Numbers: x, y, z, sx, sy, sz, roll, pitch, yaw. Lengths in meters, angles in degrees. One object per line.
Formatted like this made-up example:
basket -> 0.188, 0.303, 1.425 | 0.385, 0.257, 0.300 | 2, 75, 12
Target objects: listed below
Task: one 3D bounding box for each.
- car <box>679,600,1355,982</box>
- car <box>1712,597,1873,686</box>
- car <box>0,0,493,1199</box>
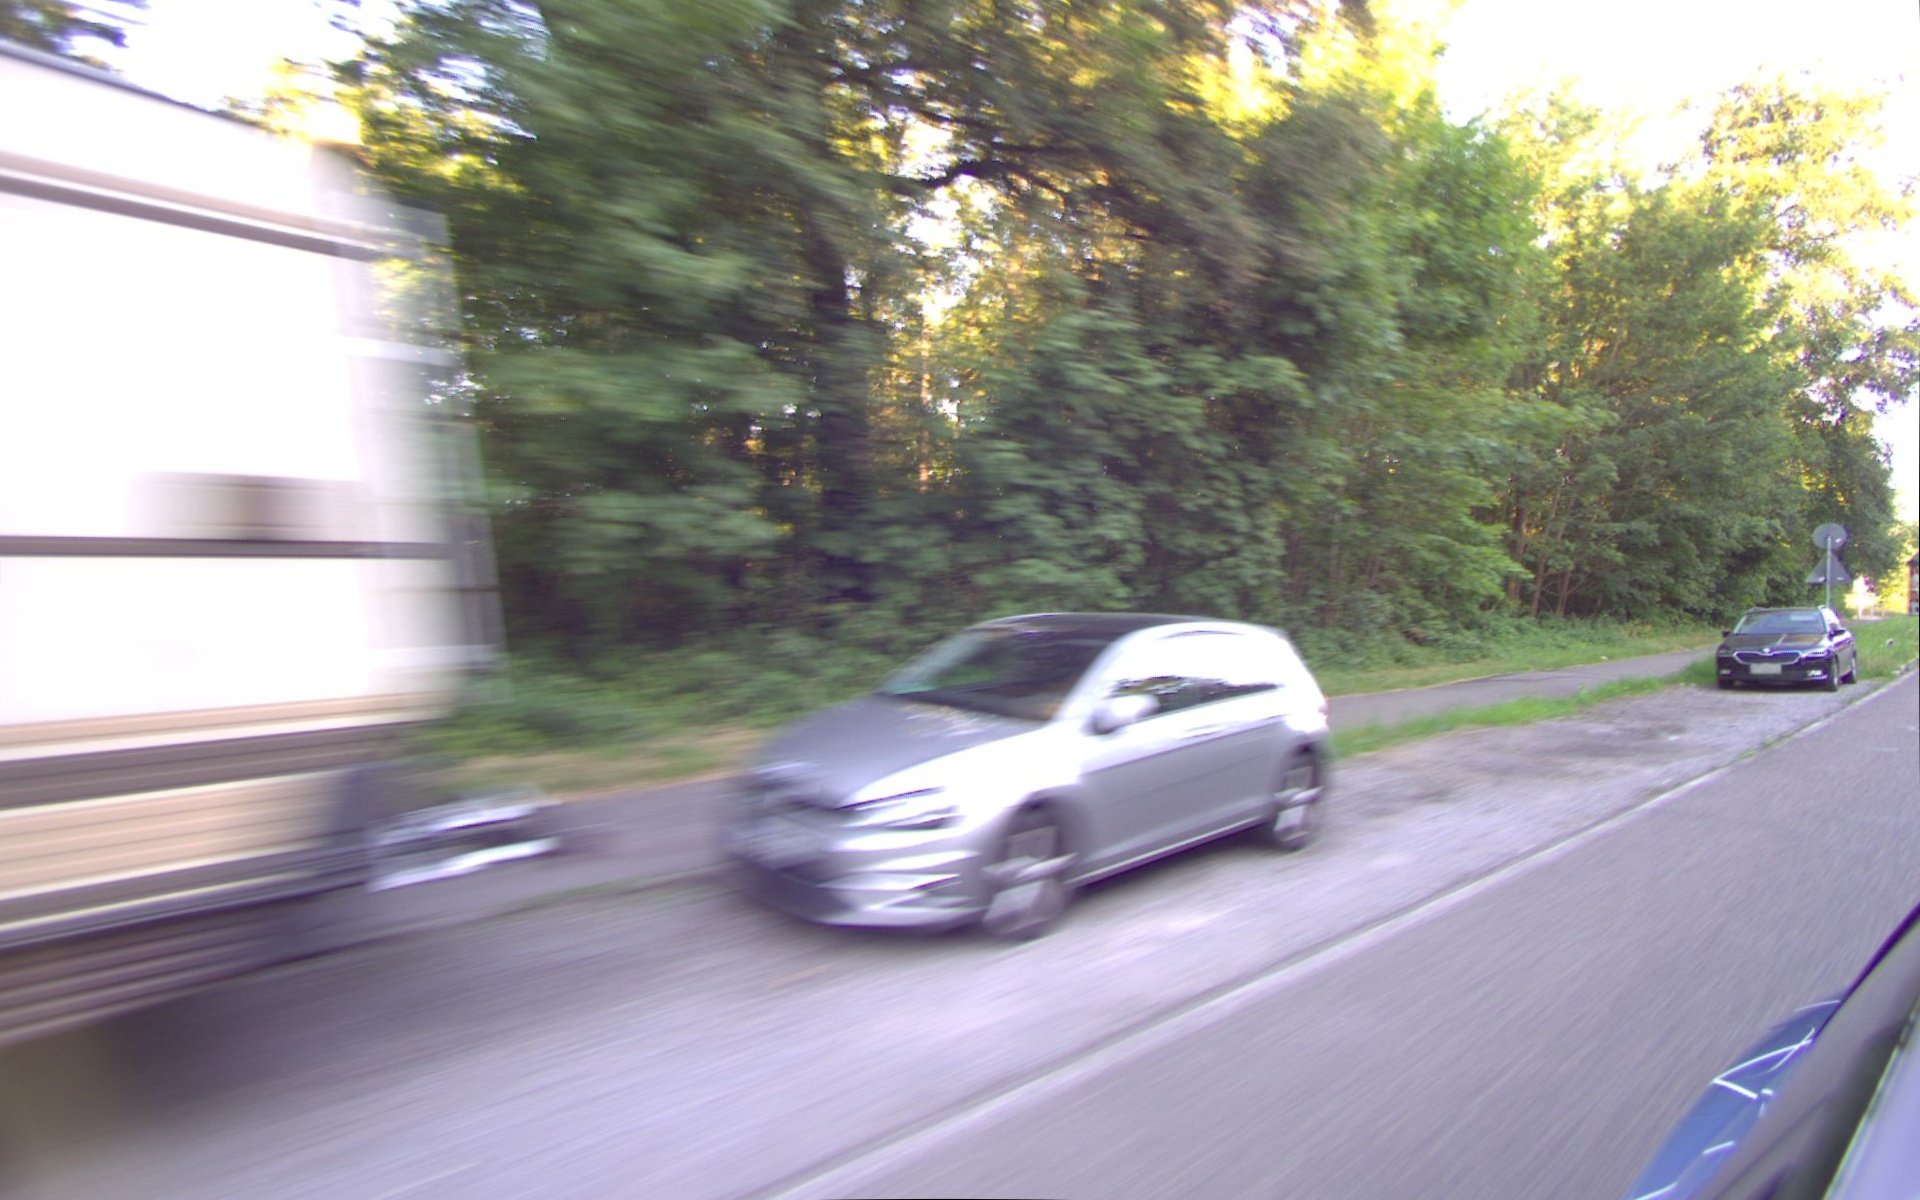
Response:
car -> 0.589, 0.744, 5.945 | 4.008, 1.423, 1.700 | -1, 1, -44
car -> 15.250, 0.699, 18.474 | 3.874, 1.423, 1.665 | -1, -1, -42
car -> -4.259, 0.010, 1.749 | 5.835, 2.894, 2.410 | -1, 0, -44
